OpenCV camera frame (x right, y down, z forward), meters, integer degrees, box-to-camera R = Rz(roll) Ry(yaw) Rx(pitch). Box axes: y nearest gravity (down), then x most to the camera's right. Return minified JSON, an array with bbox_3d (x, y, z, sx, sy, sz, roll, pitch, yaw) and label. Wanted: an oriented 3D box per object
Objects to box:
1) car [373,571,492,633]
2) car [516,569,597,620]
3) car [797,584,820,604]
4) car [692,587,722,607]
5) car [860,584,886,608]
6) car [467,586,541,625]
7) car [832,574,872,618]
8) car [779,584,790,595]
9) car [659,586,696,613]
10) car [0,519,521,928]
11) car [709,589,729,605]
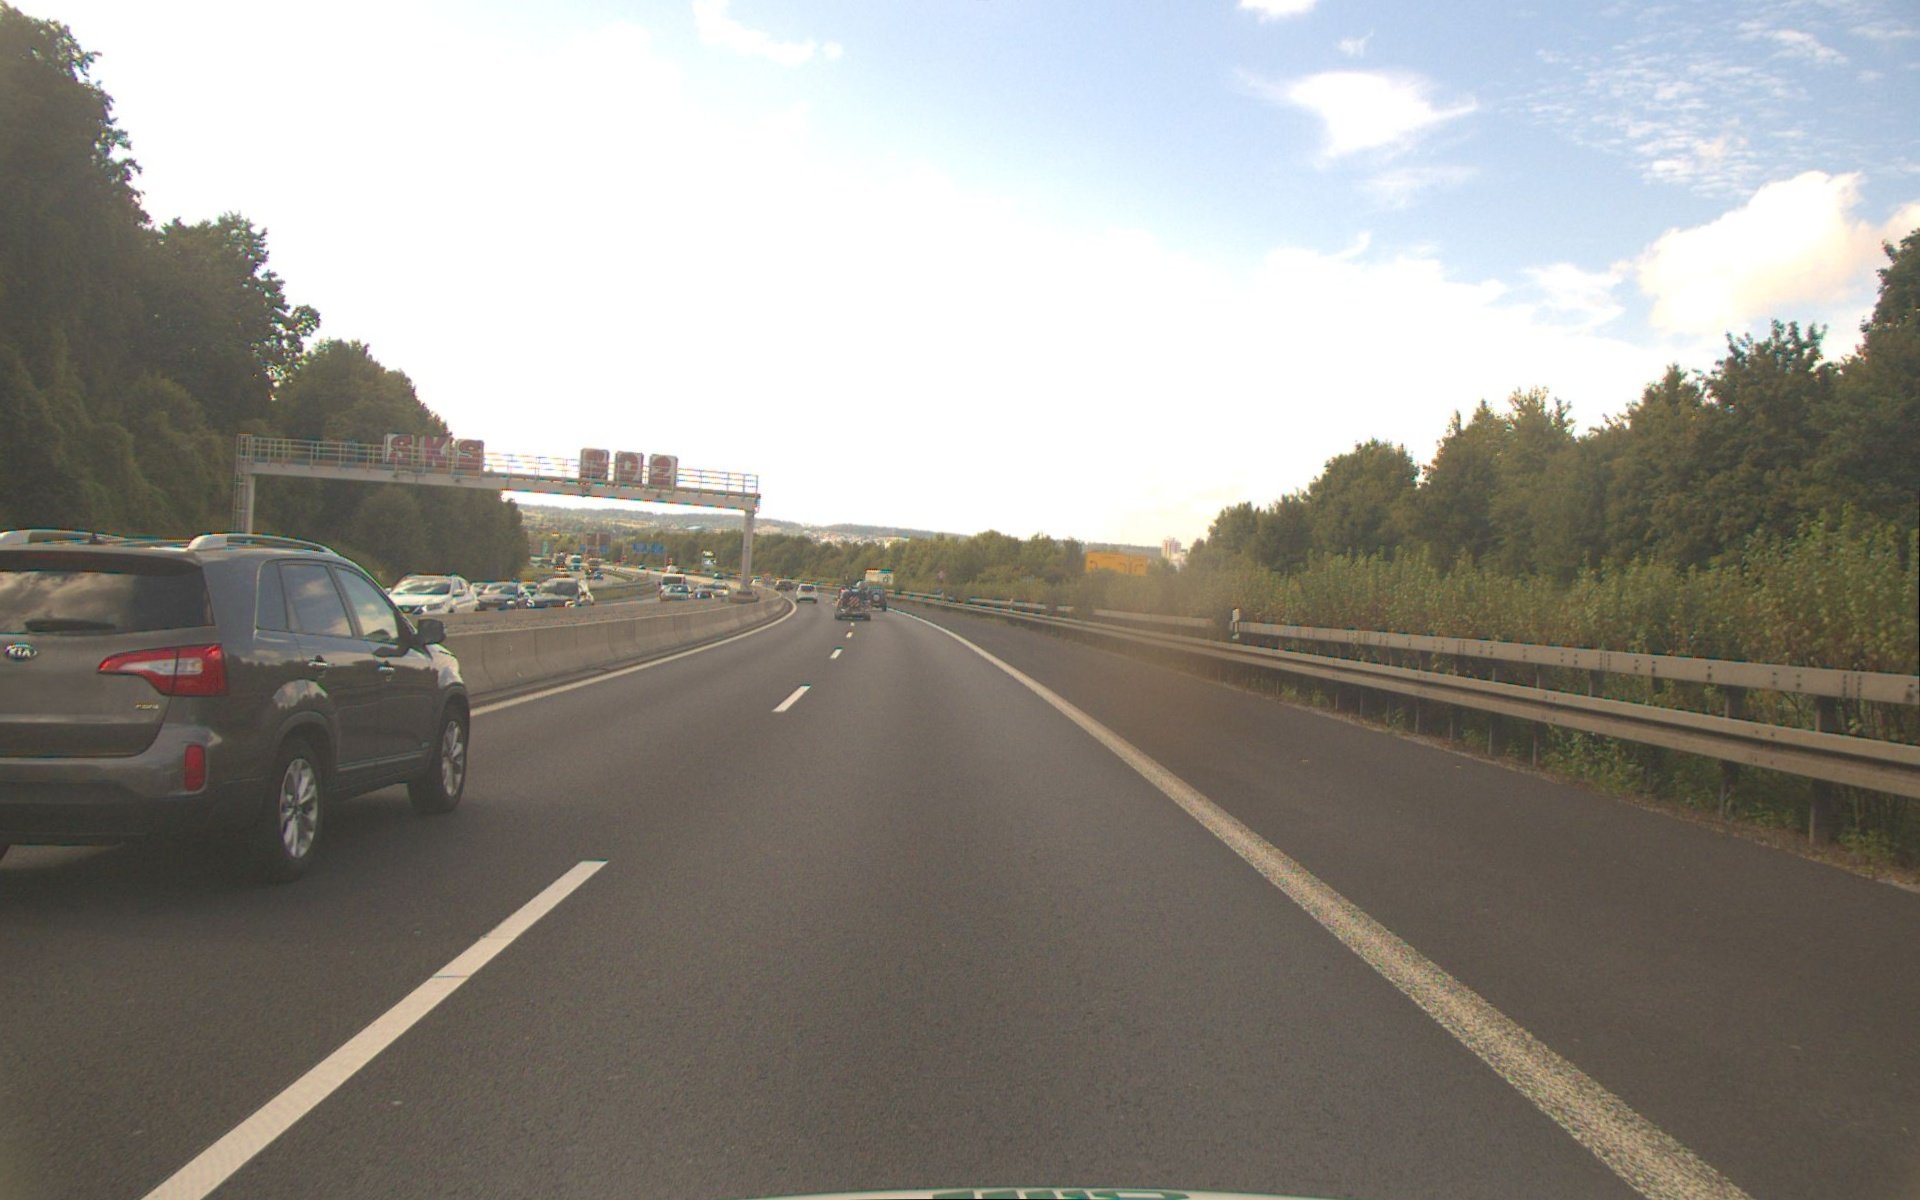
[{"bbox_3d":[-13.480,0.039,42.525,1.725,1.486,4.295,1,0,-1],"label":"car"},{"bbox_3d":[-14.293,-0.198,58.772,1.838,1.727,4.313,1,0,-1],"label":"car"},{"bbox_3d":[-14.118,-0.537,153.622,1.956,1.713,3.993,1,-1,-7],"label":"car"},{"bbox_3d":[-20.775,-0.242,136.057,1.954,1.563,5.282,1,0,-3],"label":"car"},{"bbox_3d":[-6.381,-0.306,120.762,1.557,1.624,4.089,1,1,-8],"label":"car"},{"bbox_3d":[-19.107,0.219,69.499,1.953,1.566,4.737,1,0,-2],"label":"car"},{"bbox_3d":[-5.660,-0.227,87.130,1.990,2.189,3.998,1,1,-2],"label":"car"},{"bbox_3d":[-27.053,-1.567,254.986,1.575,1.585,3.991,1,-1,-9],"label":"car"},{"bbox_3d":[-16.743,-0.030,98.202,1.665,1.566,4.498,1,0,-3],"label":"car"},{"bbox_3d":[-4.158,0.519,9.795,1.781,1.766,5.185,1,0,-1],"label":"car"},{"bbox_3d":[-22.302,-0.281,153.336,1.534,1.475,3.885,1,0,-4],"label":"car"}]
